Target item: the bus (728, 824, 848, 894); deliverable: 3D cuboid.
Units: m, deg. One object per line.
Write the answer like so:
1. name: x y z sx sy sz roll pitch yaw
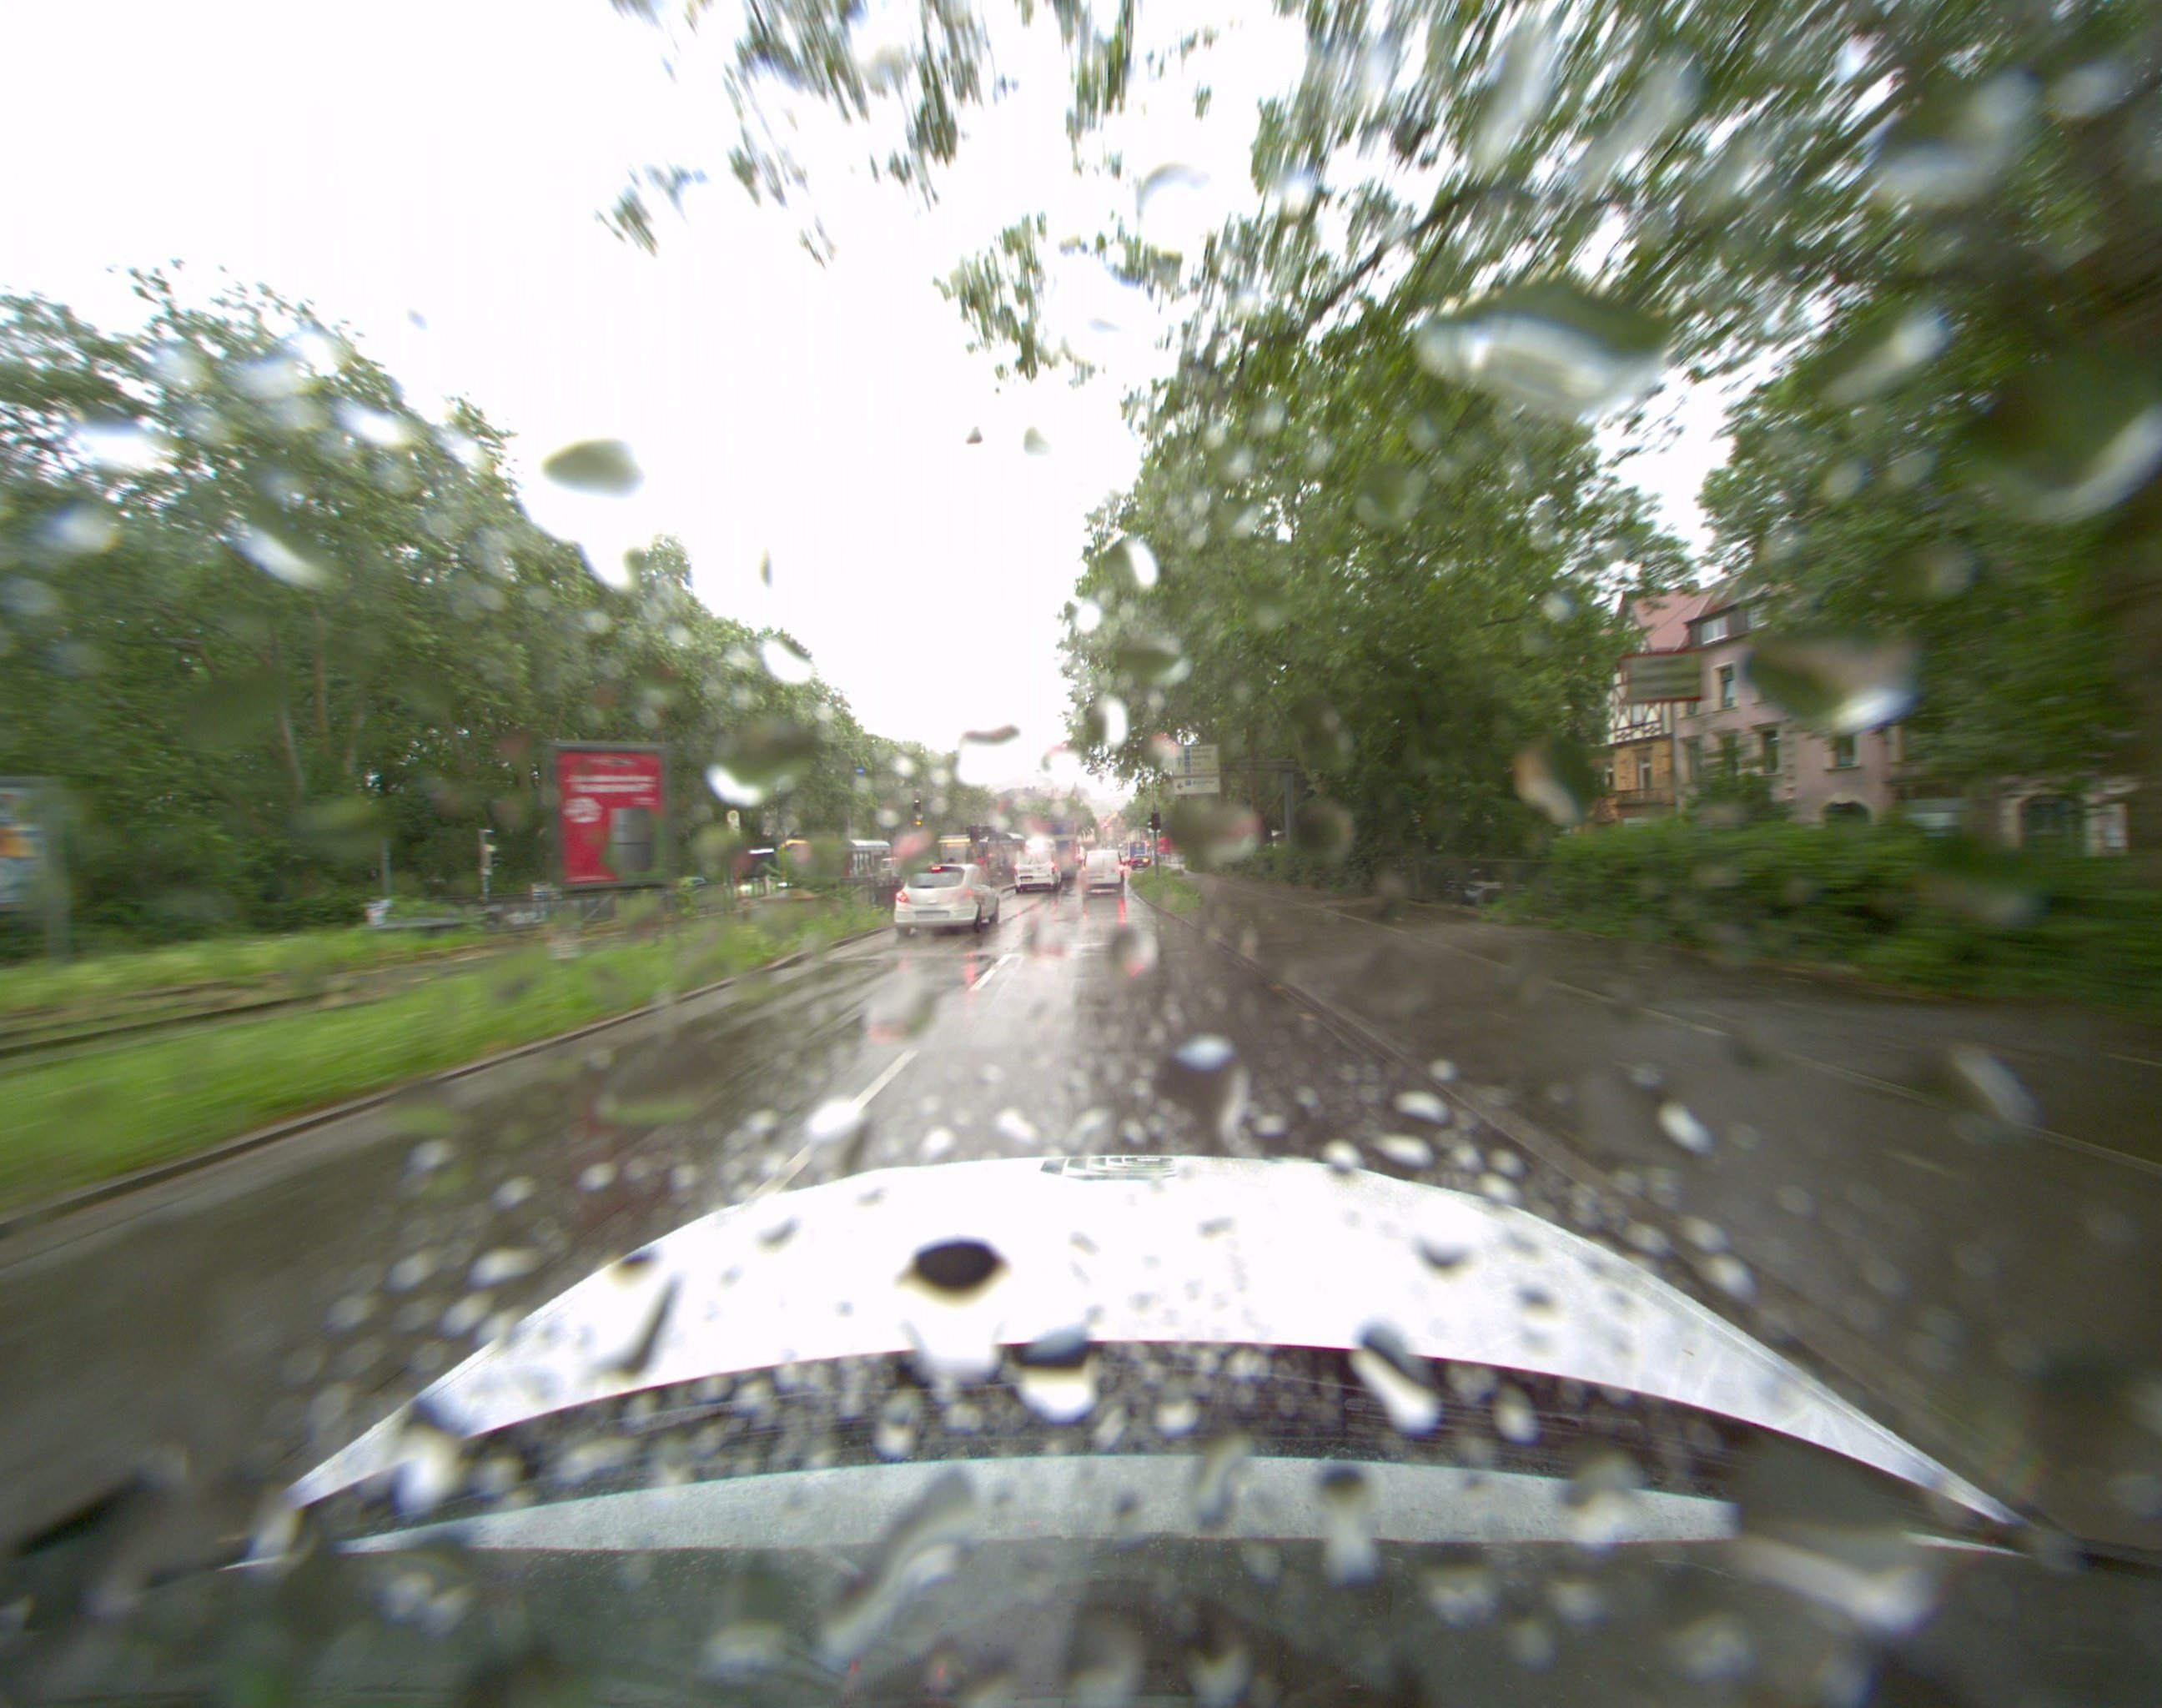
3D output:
1. bus: -18.122 0.321 51.658 3.019 3.838 12.245 -1 -1 1

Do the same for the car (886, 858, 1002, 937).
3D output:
1. car: -2.828 0.871 17.641 1.719 1.479 3.806 -2 -1 1

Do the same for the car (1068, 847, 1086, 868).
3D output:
1. car: -0.427 0.414 99.340 1.986 2.442 4.613 -1 0 1

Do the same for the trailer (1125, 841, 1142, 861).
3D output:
1. trailer: 6.516 -0.328 101.362 1.985 2.317 4.671 -2 -1 3

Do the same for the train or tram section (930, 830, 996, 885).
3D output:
1. train or tram section: -7.857 0.152 55.424 2.951 3.285 8.361 -4 1 1

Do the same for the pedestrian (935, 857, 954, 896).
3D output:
1. pedestrian: -6.226 1.017 37.189 0.675 1.738 0.808 -2 -1 1

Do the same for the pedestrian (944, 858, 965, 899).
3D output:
1. pedestrian: -5.569 1.077 35.849 0.713 1.744 0.751 -2 -1 1

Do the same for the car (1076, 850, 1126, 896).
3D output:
1. car: 0.846 0.795 34.180 1.952 1.777 3.570 -2 -1 1

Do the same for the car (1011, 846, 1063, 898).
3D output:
1. car: -2.018 0.836 39.020 1.986 2.262 5.290 -2 -1 2

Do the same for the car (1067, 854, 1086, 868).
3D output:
1. car: -0.515 0.827 93.816 1.986 1.578 4.293 -1 0 1

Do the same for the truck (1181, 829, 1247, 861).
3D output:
1. truck: 24.029 -1.613 146.664 11.288 4.899 3.300 -4 0 11

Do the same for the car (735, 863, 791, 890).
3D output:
1. car: -21.063 1.470 54.159 1.927 1.517 4.002 -3 0 2

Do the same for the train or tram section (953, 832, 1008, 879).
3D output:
1. train or tram section: -7.729 0.046 63.828 2.969 3.285 8.432 -4 1 1

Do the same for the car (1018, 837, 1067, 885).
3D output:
1. car: -2.165 0.413 47.523 2.321 2.557 6.116 -2 -1 2

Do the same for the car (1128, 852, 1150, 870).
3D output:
1. car: 5.572 0.639 77.882 1.984 1.542 4.006 -3 0 6

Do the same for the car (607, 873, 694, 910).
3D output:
1. car: -21.403 1.822 40.695 1.986 1.517 4.002 -3 0 2

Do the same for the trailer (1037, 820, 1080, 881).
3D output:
1. trailer: -1.489 -0.244 56.680 2.582 3.899 7.636 -2 0 0

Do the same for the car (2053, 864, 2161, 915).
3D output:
1. car: 35.112 1.131 26.673 3.874 1.511 1.930 -2 -1 8

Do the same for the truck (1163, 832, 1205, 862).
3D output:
1. truck: 18.728 -1.282 147.757 7.110 4.899 3.300 -4 0 12

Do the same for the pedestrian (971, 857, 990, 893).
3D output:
1. pedestrian: -4.818 1.010 39.040 0.787 1.714 0.771 0 -2 1
